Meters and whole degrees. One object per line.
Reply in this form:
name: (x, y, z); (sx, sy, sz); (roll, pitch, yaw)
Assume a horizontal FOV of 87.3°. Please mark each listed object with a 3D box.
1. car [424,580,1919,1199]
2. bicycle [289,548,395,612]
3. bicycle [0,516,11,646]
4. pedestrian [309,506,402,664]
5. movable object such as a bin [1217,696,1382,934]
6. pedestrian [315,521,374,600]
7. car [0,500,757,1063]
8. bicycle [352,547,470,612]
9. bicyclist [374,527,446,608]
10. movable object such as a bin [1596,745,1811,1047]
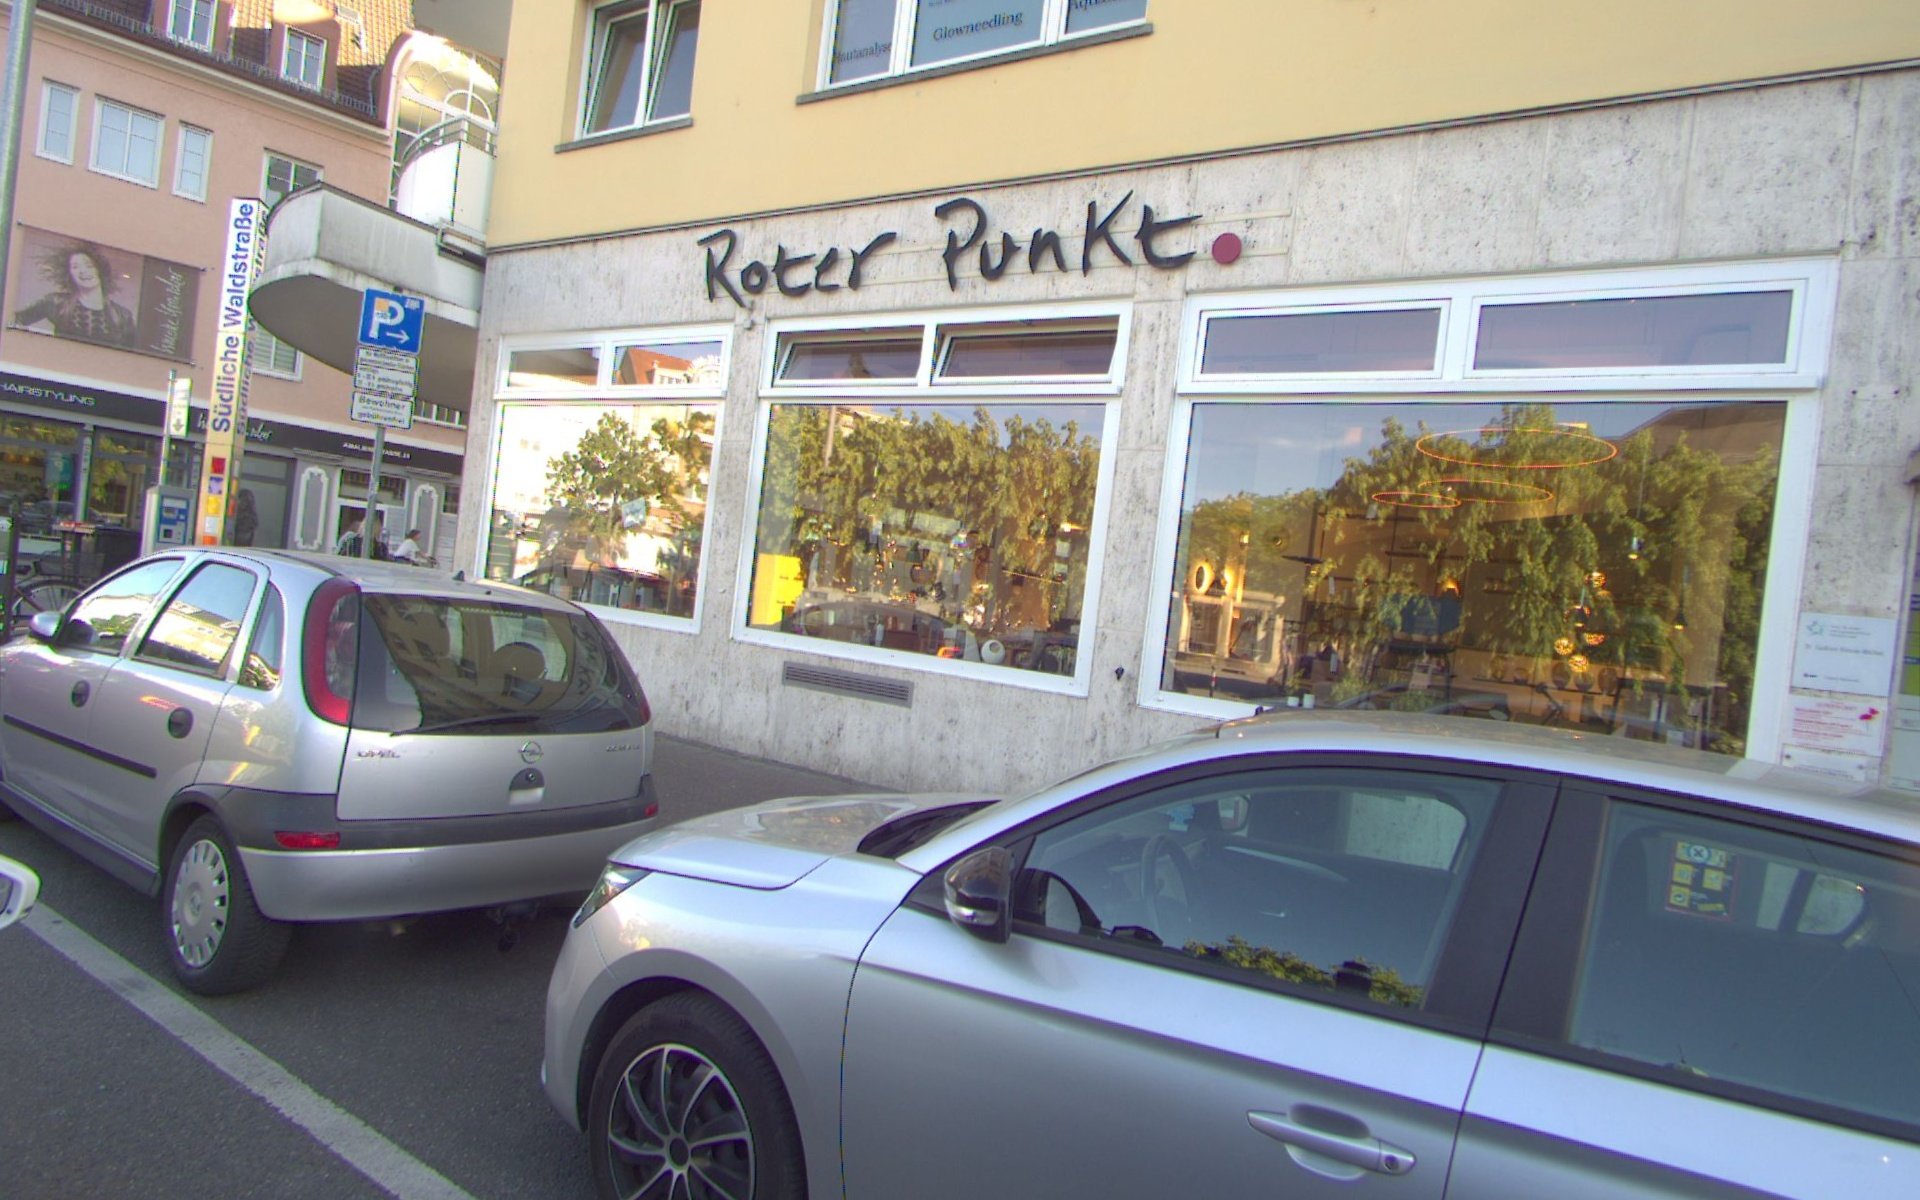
car: (0.935, 0.941, 2.201); (4.006, 1.444, 1.674); (7, -1, 28)
bicycle: (-12.240, -0.384, 19.953); (0.583, 1.057, 1.612); (6, -2, 44)
bicycle: (-9.311, -0.224, 8.606); (0.425, 1.175, 1.629); (7, 1, 30)
pedestrian: (-6.709, -0.161, 11.195); (0.654, 1.654, 0.625); (5, 2, -18)
movable object such as a bin: (1.858, 1.119, 5.483); (0.609, 1.082, 0.703); (7, 3, 31)
pedestrian: (-12.210, -0.787, 19.946); (0.575, 1.457, 0.741); (6, -1, 44)
car: (-2.931, 0.439, 4.437); (3.822, 1.411, 1.624); (7, -1, 33)
bicycle: (-11.899, -0.426, 21.864); (2.116, 1.215, 0.621); (5, 2, -43)
bicyclist: (-11.914, -0.701, 21.801); (1.094, 1.608, 0.621); (7, 0, -42)
movable object such as a bin: (3.324, 1.278, 4.570); (0.609, 1.082, 0.703); (7, 3, 31)
